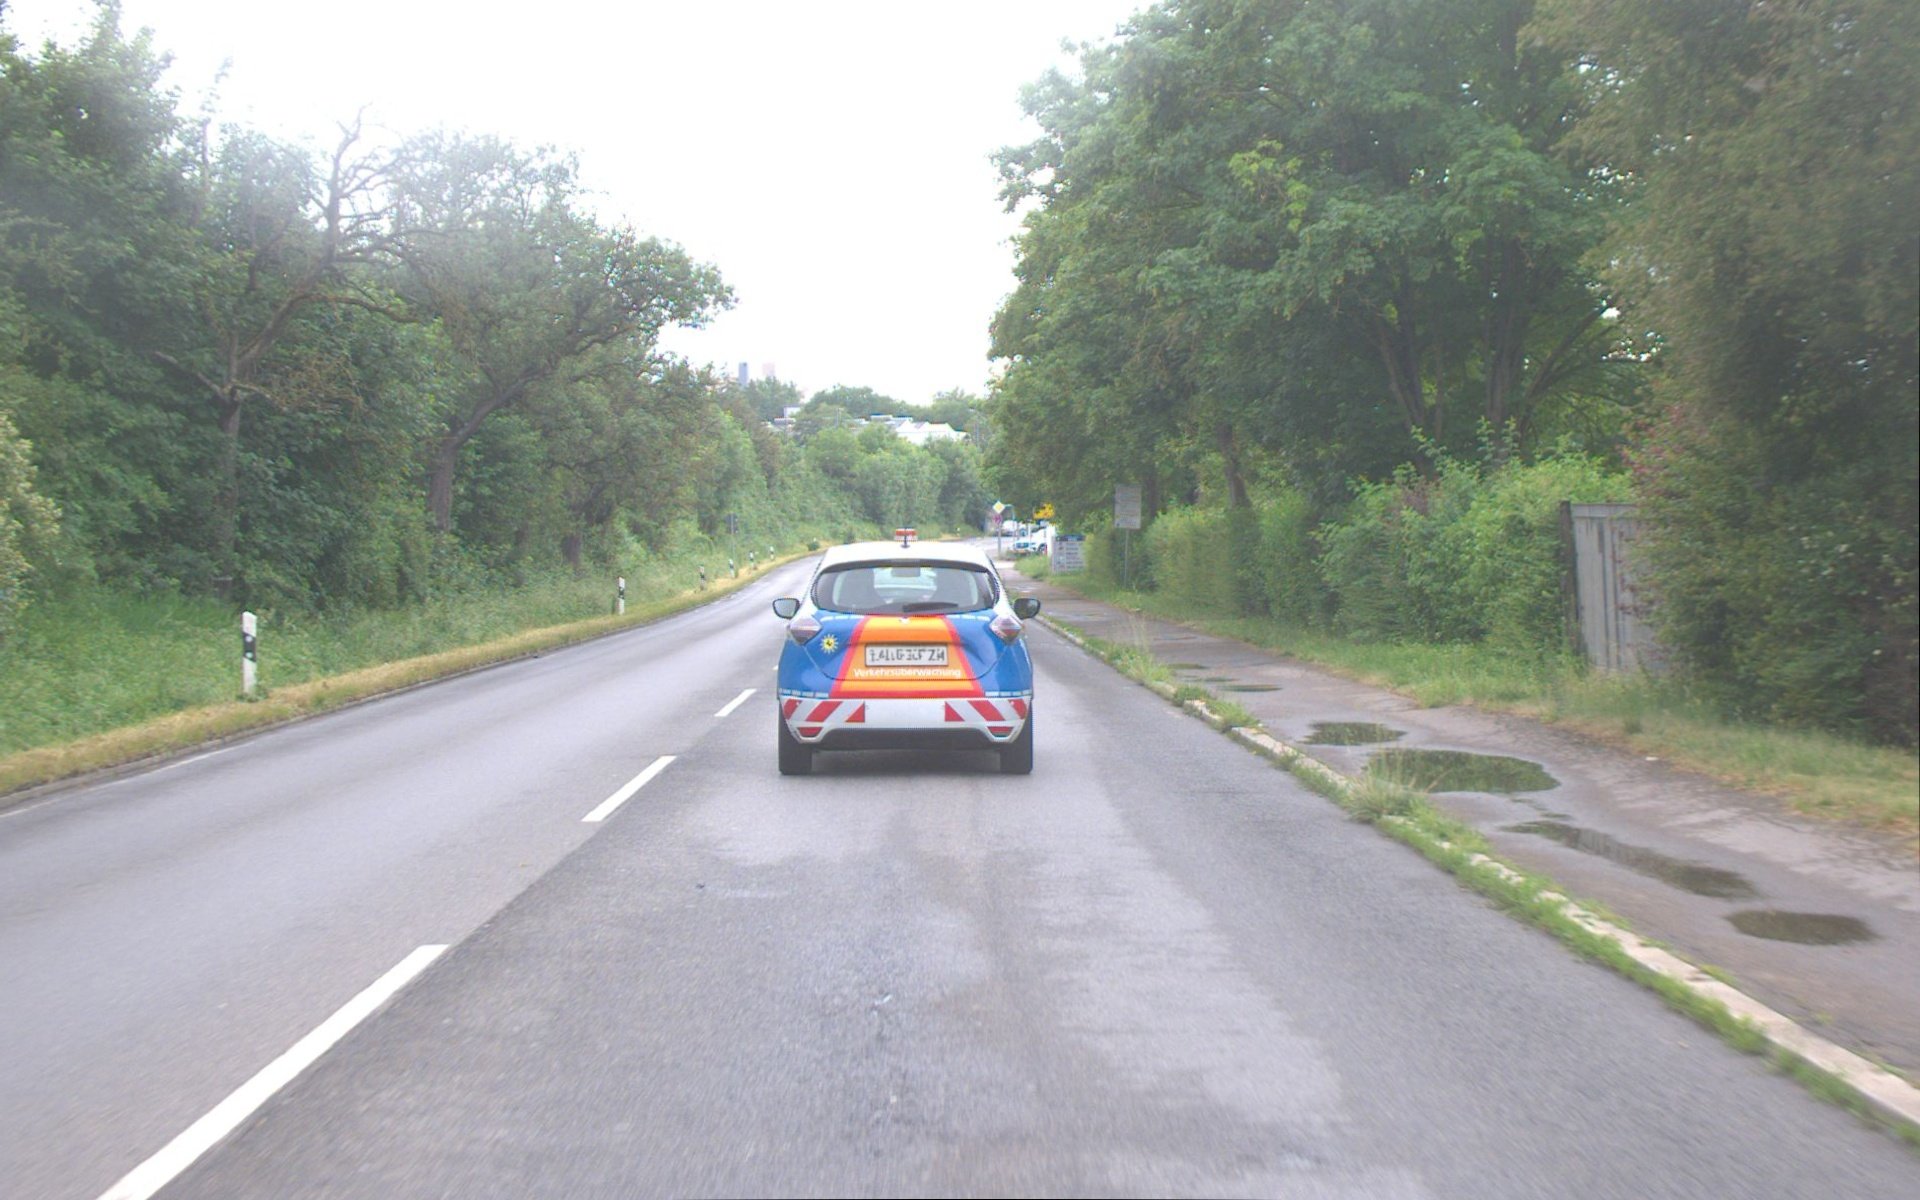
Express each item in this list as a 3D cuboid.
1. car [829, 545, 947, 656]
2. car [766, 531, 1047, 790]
[{"bbox_3d":[-1.097,-0.018,51.860,1.694,1.590,3.856,0,1,-1],"label":"car"},{"bbox_3d":[-0.376,0.368,24.171,1.806,1.662,3.856,0,1,-1],"label":"car"}]
